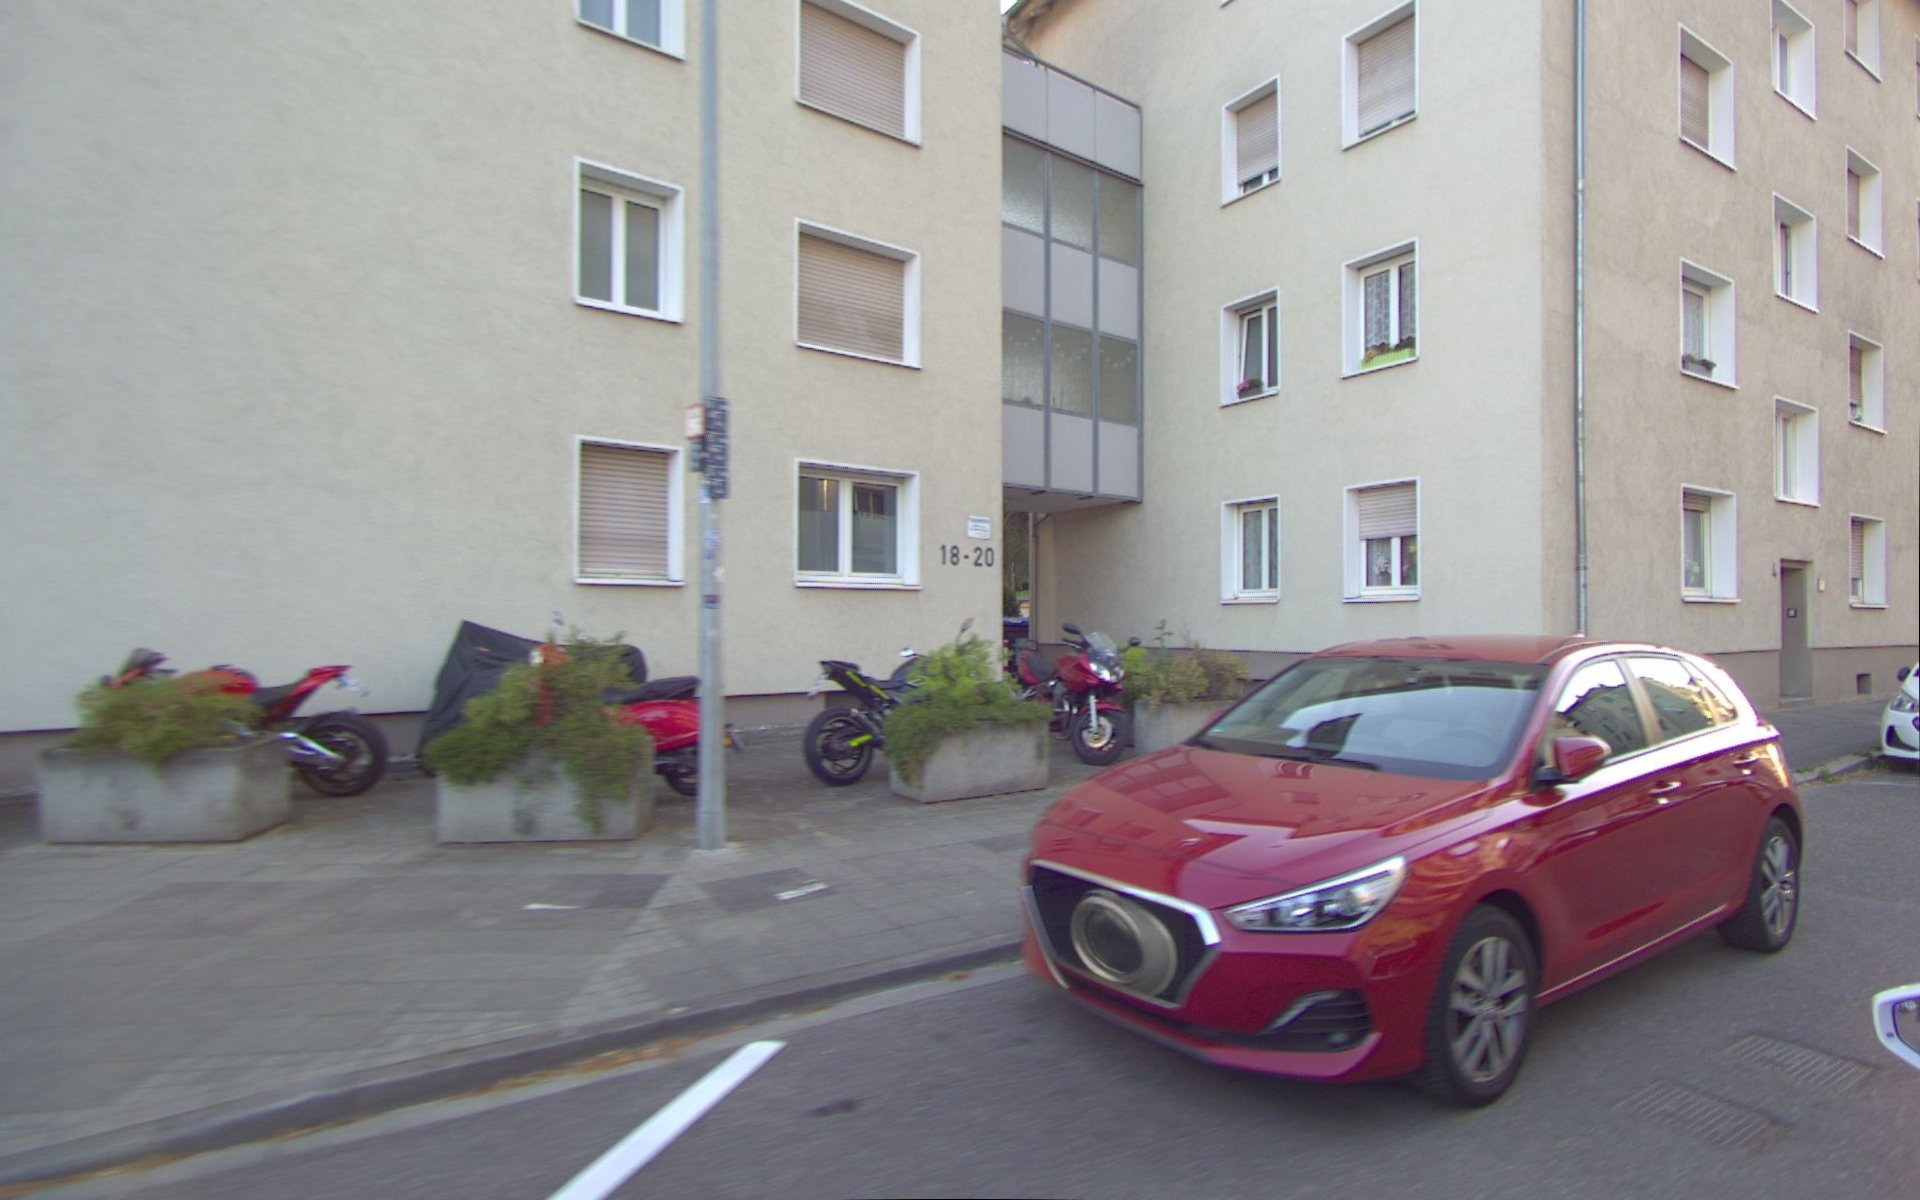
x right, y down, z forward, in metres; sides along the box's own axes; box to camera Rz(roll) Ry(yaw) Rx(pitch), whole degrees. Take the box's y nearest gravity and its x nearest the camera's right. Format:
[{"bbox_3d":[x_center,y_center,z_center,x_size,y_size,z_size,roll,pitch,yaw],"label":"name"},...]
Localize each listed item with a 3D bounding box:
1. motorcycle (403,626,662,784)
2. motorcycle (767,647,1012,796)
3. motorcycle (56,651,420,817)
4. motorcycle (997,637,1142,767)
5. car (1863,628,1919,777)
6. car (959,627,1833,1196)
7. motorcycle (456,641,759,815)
[{"bbox_3d":[-3.766,0.882,8.992,2.051,1.281,0.722,0,-1,-23],"label":"motorcycle"},{"bbox_3d":[-0.567,0.970,8.542,2.011,1.093,0.678,1,-1,-32],"label":"motorcycle"},{"bbox_3d":[-5.230,0.945,7.420,2.044,1.093,0.724,0,-1,-12],"label":"motorcycle"},{"bbox_3d":[1.041,0.957,10.136,0.552,1.120,2.120,0,-1,-21],"label":"motorcycle"},{"bbox_3d":[11.257,1.033,10.724,3.469,1.492,1.606,1,-3,-35],"label":"car"},{"bbox_3d":[2.162,0.881,4.598,4.037,1.493,1.833,1,-1,-35],"label":"car"},{"bbox_3d":[-2.514,0.897,7.376,1.997,1.176,0.690,0,-1,-9],"label":"motorcycle"}]
